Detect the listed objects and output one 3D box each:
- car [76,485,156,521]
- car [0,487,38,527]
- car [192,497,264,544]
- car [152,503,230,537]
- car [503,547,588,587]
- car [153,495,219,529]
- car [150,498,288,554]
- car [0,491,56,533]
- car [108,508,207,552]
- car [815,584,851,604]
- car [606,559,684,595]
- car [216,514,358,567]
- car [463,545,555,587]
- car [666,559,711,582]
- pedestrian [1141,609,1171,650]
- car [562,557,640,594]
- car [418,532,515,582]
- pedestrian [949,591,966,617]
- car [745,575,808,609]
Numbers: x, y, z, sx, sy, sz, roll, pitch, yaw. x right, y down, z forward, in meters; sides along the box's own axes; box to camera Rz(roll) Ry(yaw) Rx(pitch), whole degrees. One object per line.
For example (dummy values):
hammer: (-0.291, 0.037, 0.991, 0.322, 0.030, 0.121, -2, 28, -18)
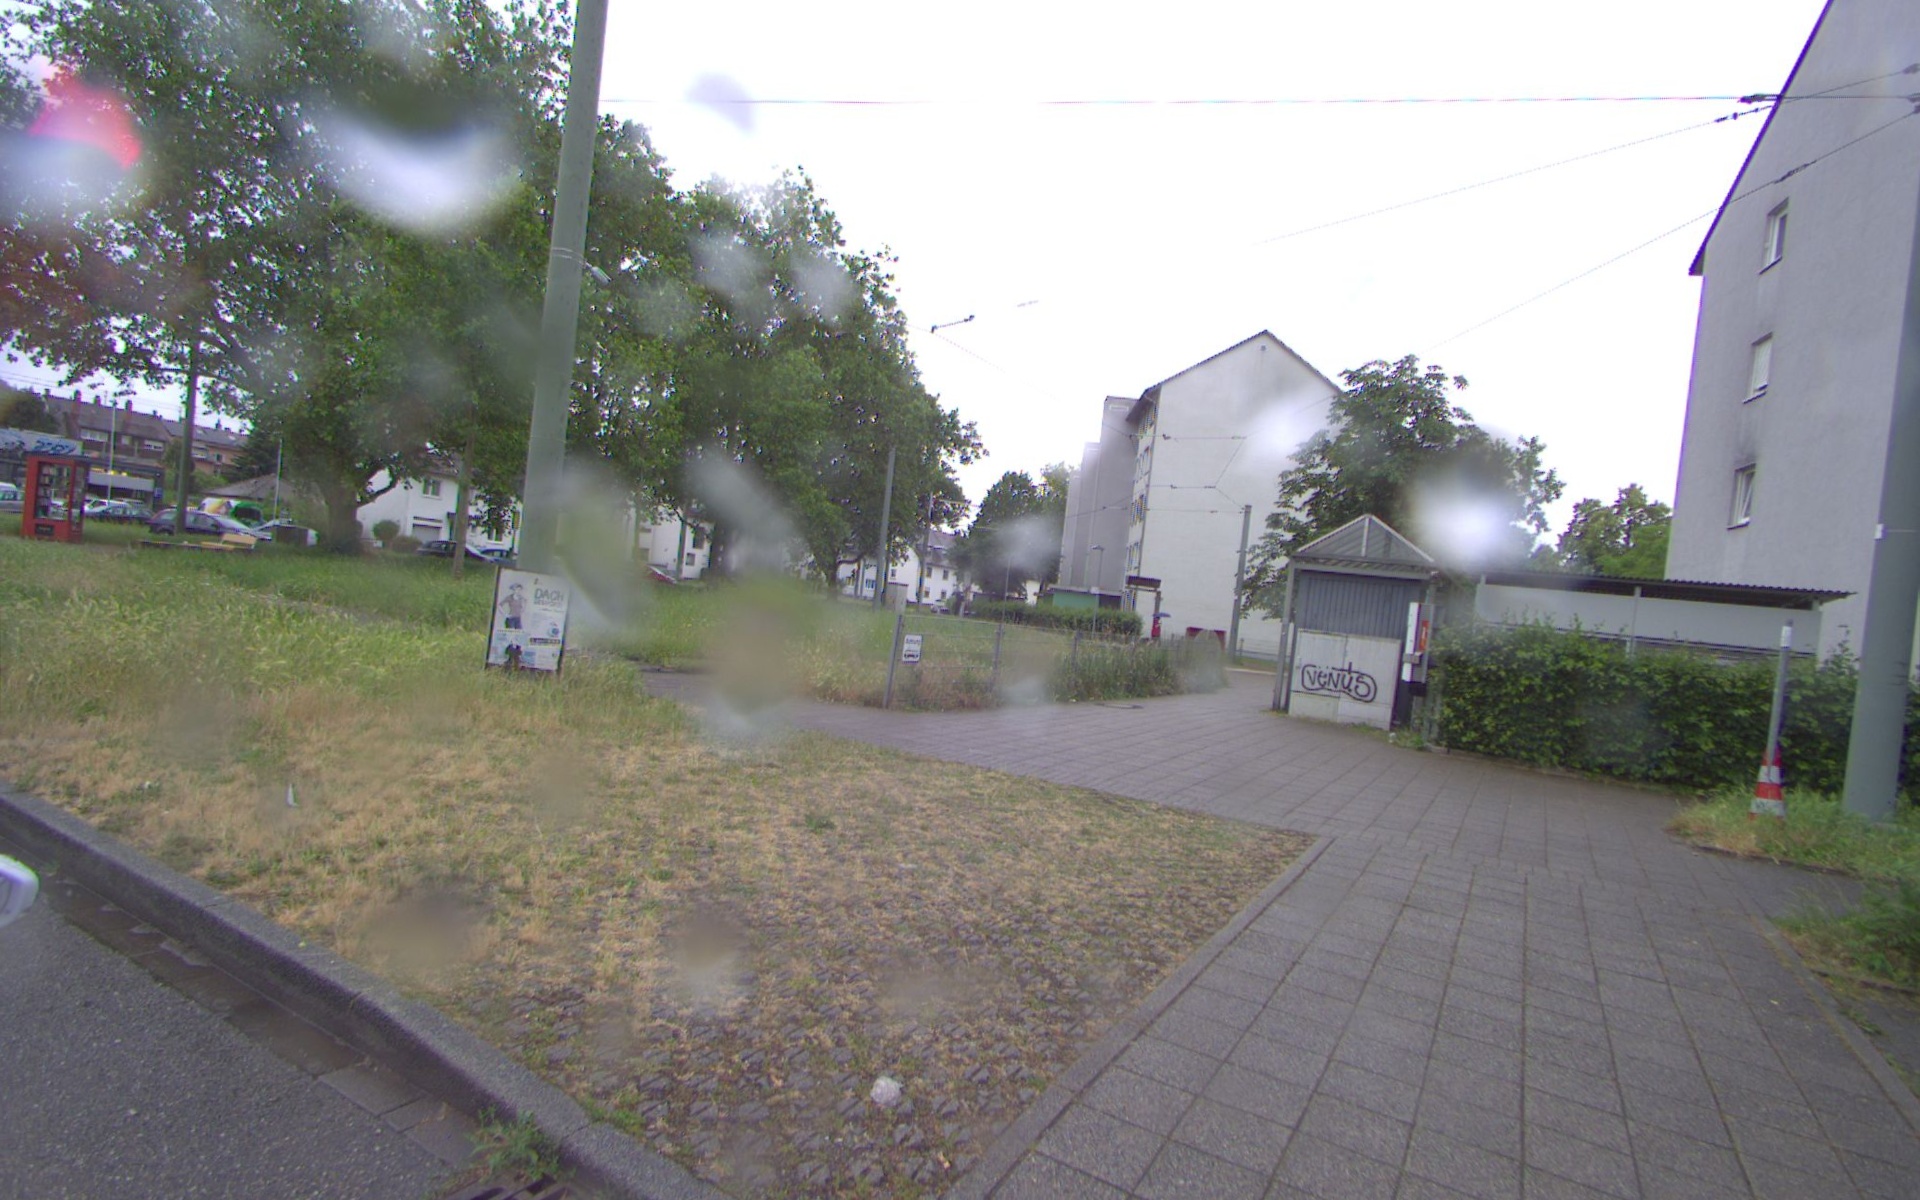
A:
car: (-61.695, -7.078, 73.613, 1.968, 1.811, 3.992, 6, -2, 34)
car: (-54.730, -5.455, 56.347, 1.966, 1.973, 3.997, 6, -2, 30)
car: (-46.752, -5.054, 64.263, 4.280, 2.471, 1.998, 6, -2, 31)
car: (-55.473, -5.761, 72.599, 1.816, 1.658, 3.995, 6, -2, 32)
car: (-21.985, -1.723, 53.497, 3.855, 1.512, 1.806, 8, -2, -15)
car: (-62.181, -7.052, 80.792, 3.924, 2.037, 2.003, 7, -2, 14)
car: (-29.197, -2.894, 39.780, 3.855, 1.512, 1.806, 8, -2, -15)
car: (-46.588, -4.430, 48.722, 1.859, 1.720, 3.692, 6, -2, 32)
car: (-43.433, -3.781, 54.505, 1.859, 1.720, 3.692, 6, -2, 32)
car: (-14.100, -0.613, 111.605, 1.859, 1.678, 3.692, 6, -2, 32)
car: (-18.635, -1.328, 59.587, 3.842, 1.513, 1.812, 7, -2, 3)
car: (-25.165, -2.205, 37.707, 1.819, 1.300, 3.987, 6, -3, 39)
car: (-22.814, -1.702, 51.061, 3.855, 1.512, 1.806, 8, -2, -15)
car: (-25.723, -2.792, 95.522, 1.859, 1.678, 3.692, 6, -2, 32)
pedestrian: (8.738, 1.314, 44.844, 0.806, 1.674, 0.889, 6, -2, 41)
car: (-20.118, -1.355, 56.530, 3.855, 1.512, 1.806, 8, -2, -15)
car: (-23.736, -2.038, 48.527, 3.710, 1.819, 1.806, 8, -2, -15)
pedestrian: (-0.200, 0.303, 74.594, 1.022, 1.811, 0.818, 7, -1, -3)
car: (-12.750, -0.540, 70.101, 3.843, 1.785, 1.812, 7, -2, 0)
